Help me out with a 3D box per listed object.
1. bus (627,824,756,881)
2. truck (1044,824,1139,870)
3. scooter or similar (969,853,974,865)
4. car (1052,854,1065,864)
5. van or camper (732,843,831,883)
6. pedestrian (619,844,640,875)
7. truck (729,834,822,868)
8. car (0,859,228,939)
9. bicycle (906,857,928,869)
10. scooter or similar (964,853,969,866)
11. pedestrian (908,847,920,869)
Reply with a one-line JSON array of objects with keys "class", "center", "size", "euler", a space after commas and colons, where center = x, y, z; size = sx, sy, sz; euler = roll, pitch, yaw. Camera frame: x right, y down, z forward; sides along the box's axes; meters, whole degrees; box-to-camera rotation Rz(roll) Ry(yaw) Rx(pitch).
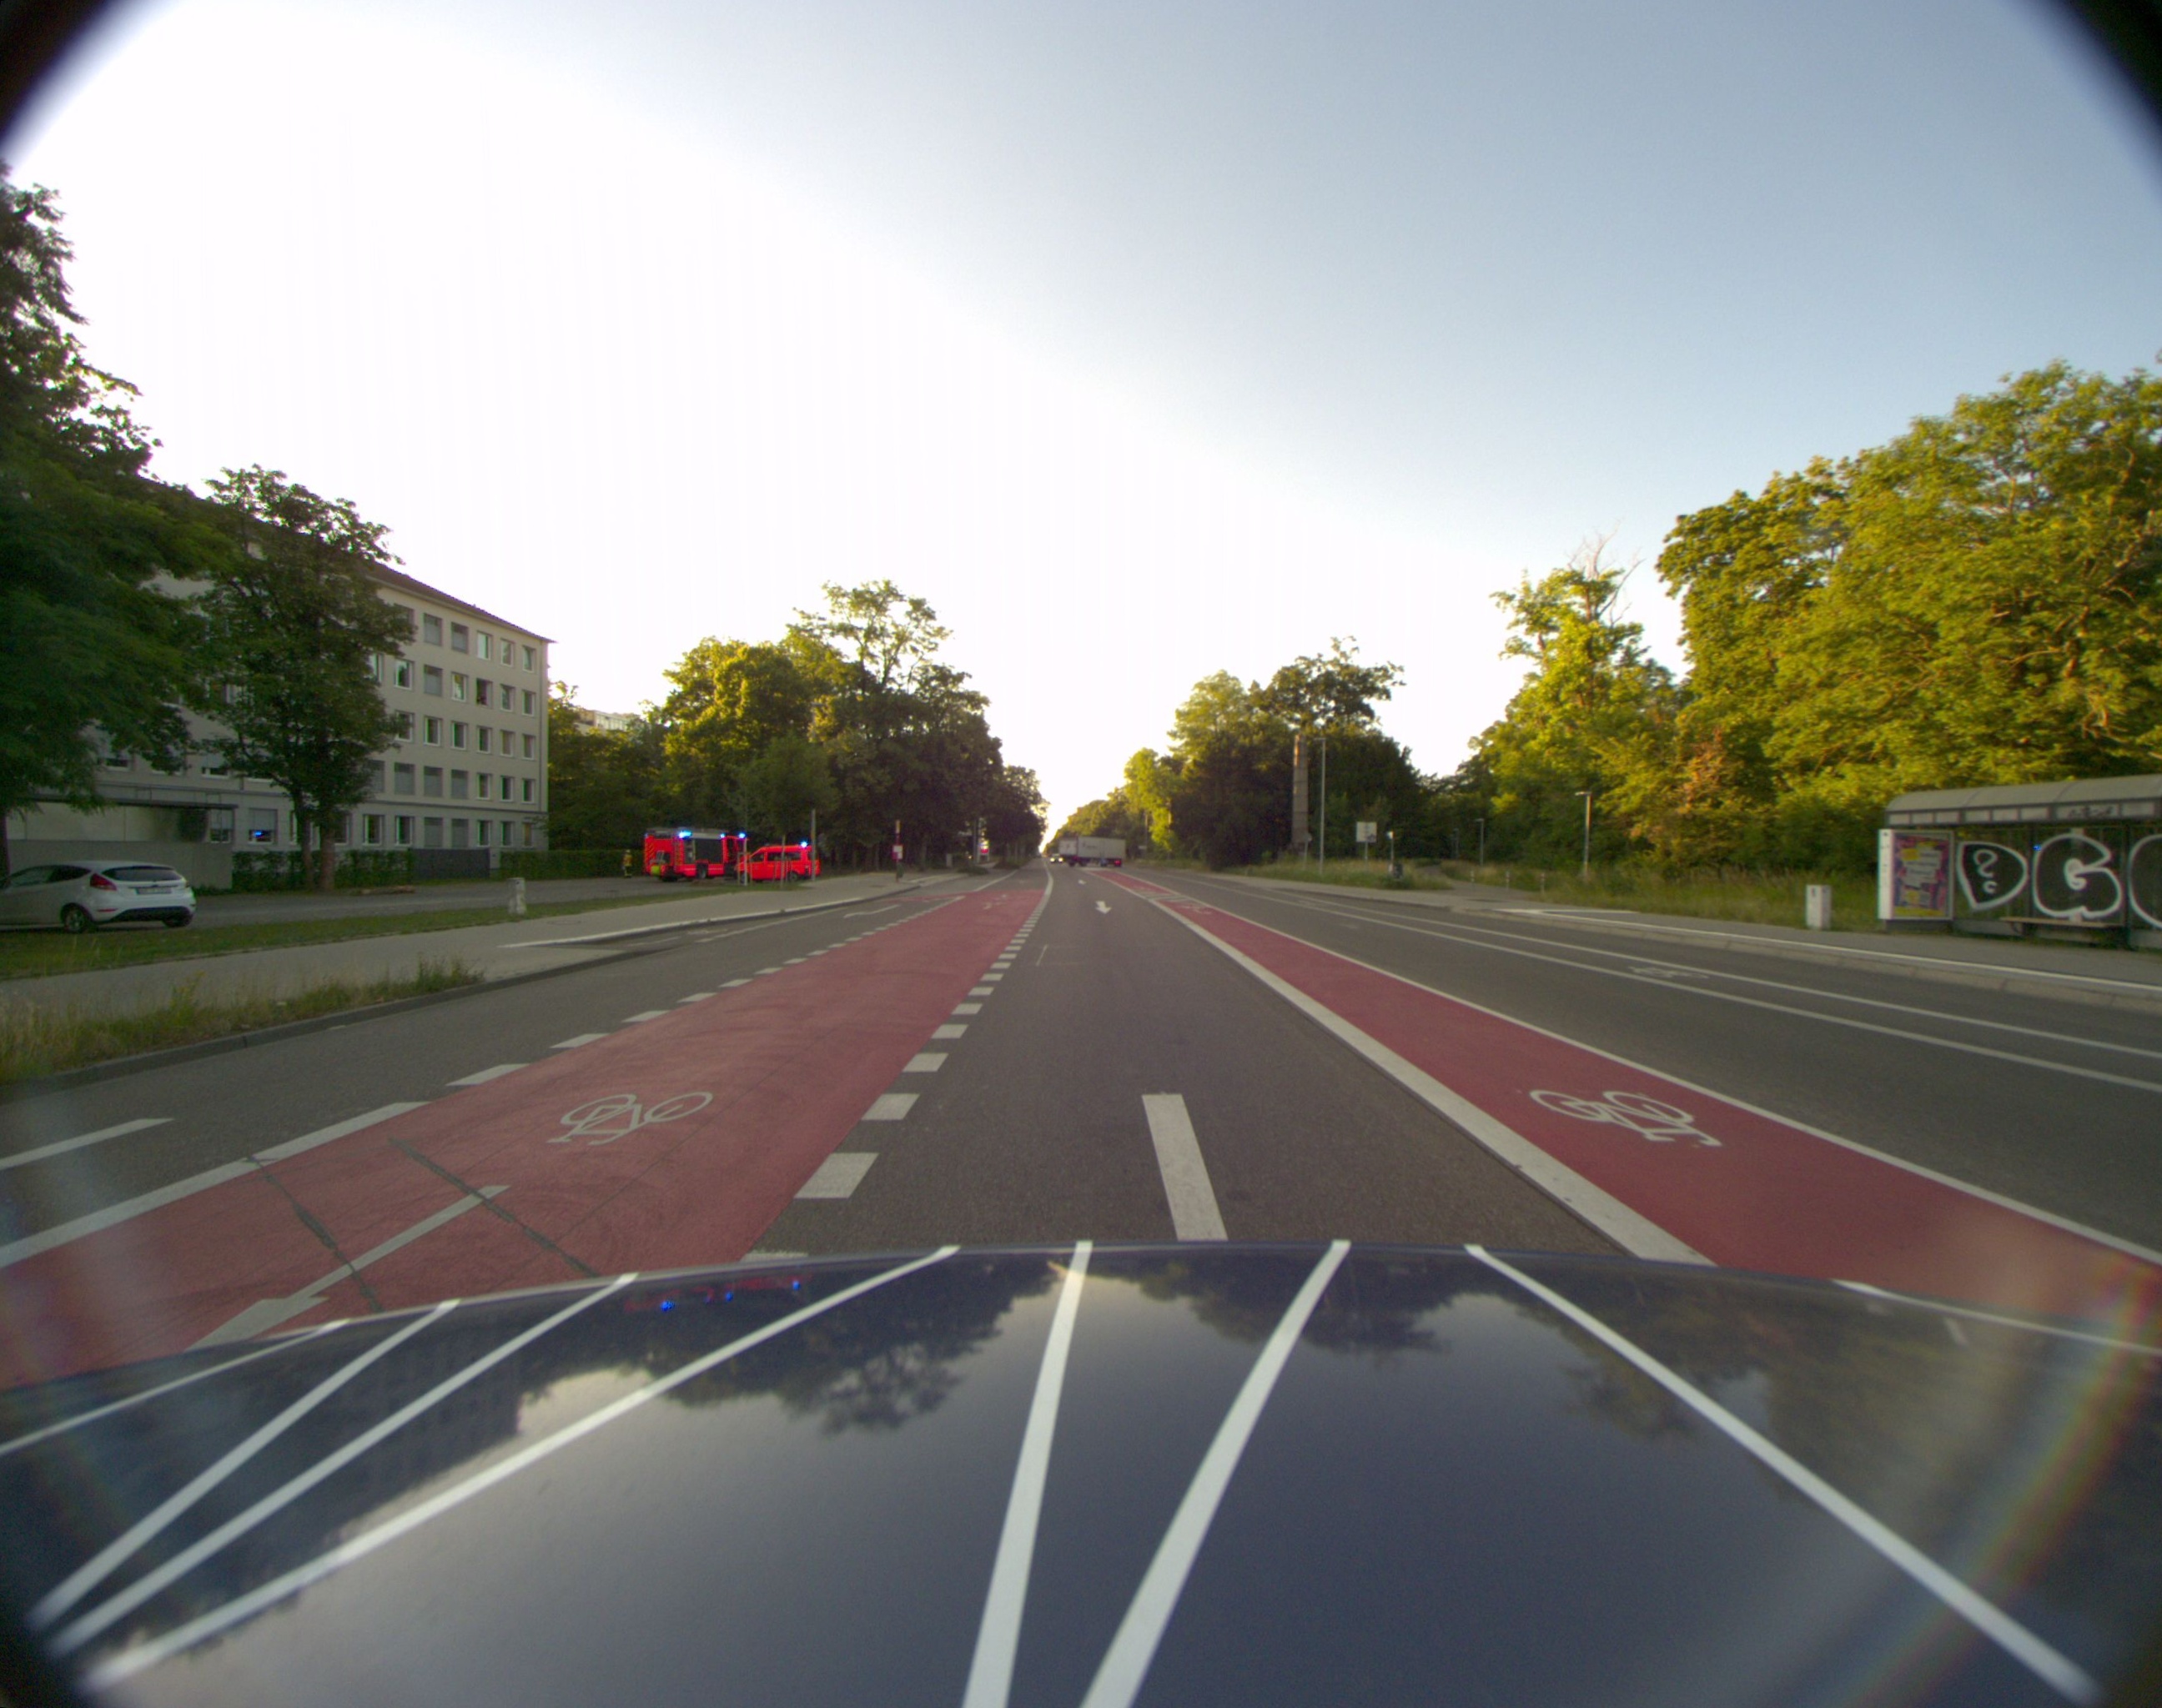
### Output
[{"class": "bus", "center": [-23.798, -0.089, 46.993], "size": [2.993, 3.177, 7.968], "euler": [-1, 1, 8]}, {"class": "truck", "center": [1.751, -0.908, 100.563], "size": [5.144, 5.542, 15.115], "euler": [1, 1, 34]}, {"class": "scooter or similar", "center": [-11.966, 0.578, 83.154], "size": [0.483, 1.274, 1.139], "euler": [2, 0, -8]}, {"class": "car", "center": [-3.794, 0.884, 128.874], "size": [1.998, 1.608, 4.000], "euler": [0, 0, 0]}, {"class": "van or camper", "center": [-17.596, 0.503, 44.771], "size": [4.822, 2.231, 2.296], "euler": [-1, 1, 8]}, {"class": "pedestrian", "center": [-29.469, 0.378, 49.603], "size": [0.772, 2.002, 0.826], "euler": [0, 1, 9]}, {"class": "truck", "center": [-29.832, -0.269, 74.150], "size": [8.645, 3.192, 2.765], "euler": [0, 0, 17]}, {"class": "car", "center": [-20.944, 0.915, 15.982], "size": [3.996, 1.528, 1.912], "euler": [-1, 1, 4]}, {"class": "bicycle", "center": [-15.074, 0.800, 69.892], "size": [1.963, 1.091, 0.834], "euler": [0, 1, 30]}, {"class": "scooter or similar", "center": [-12.207, 0.577, 81.161], "size": [0.483, 1.274, 1.230], "euler": [2, 0, -8]}, {"class": "pedestrian", "center": [-15.248, 0.347, 69.376], "size": [0.693, 2.002, 0.727], "euler": [1, 1, 36]}]
